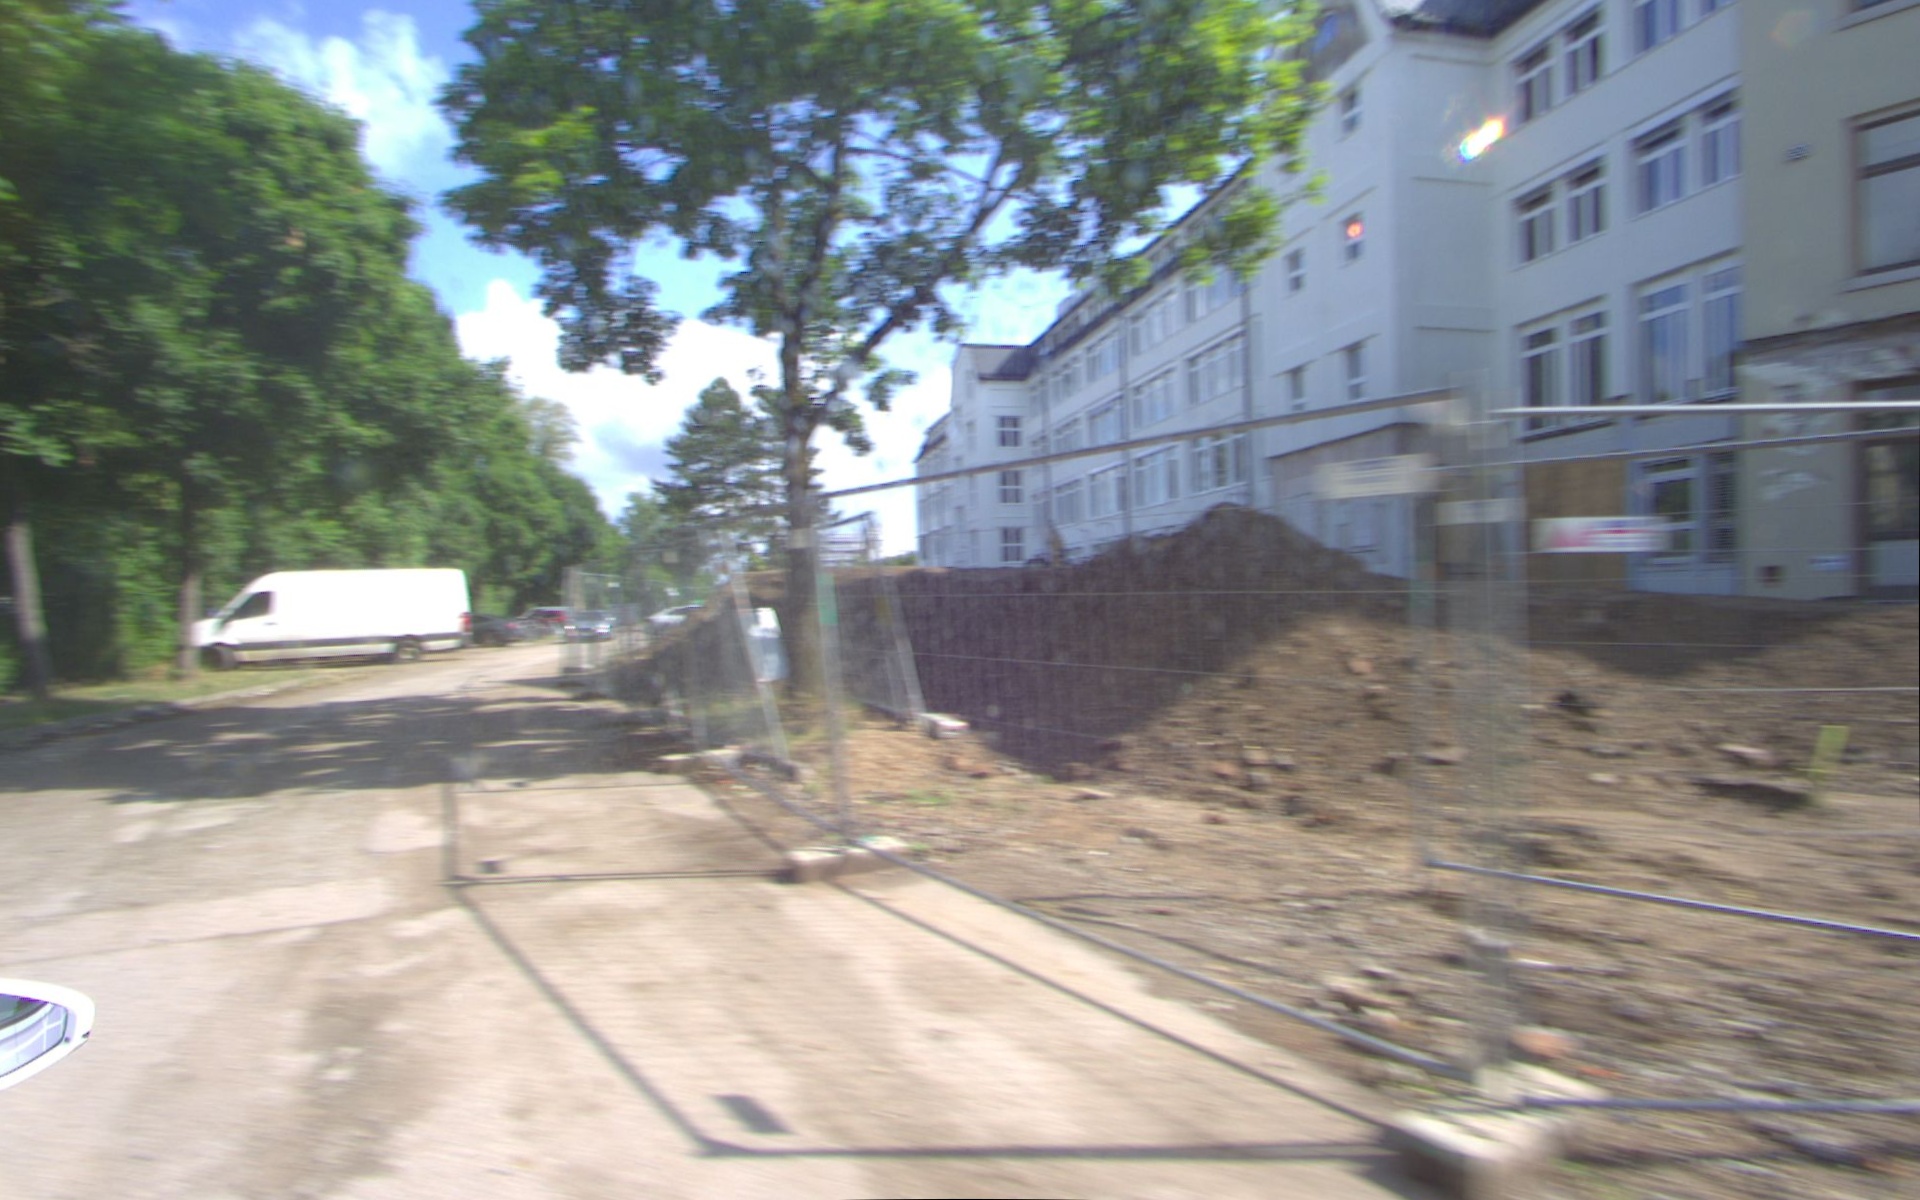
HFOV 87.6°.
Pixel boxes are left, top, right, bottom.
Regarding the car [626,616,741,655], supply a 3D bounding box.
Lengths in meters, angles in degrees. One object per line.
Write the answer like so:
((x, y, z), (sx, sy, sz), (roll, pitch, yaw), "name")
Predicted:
((-12.212, 1.611, 44.513), (4.781, 1.444, 1.845), (3, -5, -13), "car")

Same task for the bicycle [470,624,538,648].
((-22.036, 1.747, 48.469), (2.835, 1.003, 1.017), (3, -5, -16), "bicycle")

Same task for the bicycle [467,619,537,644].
((-21.640, 1.480, 47.389), (2.835, 1.003, 1.017), (3, -5, -16), "bicycle")

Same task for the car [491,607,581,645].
((-26.266, 1.623, 62.221), (4.781, 2.037, 1.845), (3, -5, -13), "car")

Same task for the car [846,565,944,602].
((-3.355, -0.818, 51.672), (4.781, 1.444, 1.845), (3, -5, -13), "car")

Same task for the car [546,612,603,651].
((-17.184, 1.462, 44.804), (1.811, 1.444, 4.001), (3, -6, -13), "car")

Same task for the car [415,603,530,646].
((-19.798, 1.013, 40.851), (3.931, 1.444, 1.843), (3, -5, -18), "car")

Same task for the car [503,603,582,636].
((-29.518, 1.405, 70.958), (4.781, 2.037, 1.845), (3, -5, -13), "car")

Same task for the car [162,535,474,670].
((-17.469, 0.221, 27.789), (6.882, 3.083, 1.990), (5, -4, -31), "car")
